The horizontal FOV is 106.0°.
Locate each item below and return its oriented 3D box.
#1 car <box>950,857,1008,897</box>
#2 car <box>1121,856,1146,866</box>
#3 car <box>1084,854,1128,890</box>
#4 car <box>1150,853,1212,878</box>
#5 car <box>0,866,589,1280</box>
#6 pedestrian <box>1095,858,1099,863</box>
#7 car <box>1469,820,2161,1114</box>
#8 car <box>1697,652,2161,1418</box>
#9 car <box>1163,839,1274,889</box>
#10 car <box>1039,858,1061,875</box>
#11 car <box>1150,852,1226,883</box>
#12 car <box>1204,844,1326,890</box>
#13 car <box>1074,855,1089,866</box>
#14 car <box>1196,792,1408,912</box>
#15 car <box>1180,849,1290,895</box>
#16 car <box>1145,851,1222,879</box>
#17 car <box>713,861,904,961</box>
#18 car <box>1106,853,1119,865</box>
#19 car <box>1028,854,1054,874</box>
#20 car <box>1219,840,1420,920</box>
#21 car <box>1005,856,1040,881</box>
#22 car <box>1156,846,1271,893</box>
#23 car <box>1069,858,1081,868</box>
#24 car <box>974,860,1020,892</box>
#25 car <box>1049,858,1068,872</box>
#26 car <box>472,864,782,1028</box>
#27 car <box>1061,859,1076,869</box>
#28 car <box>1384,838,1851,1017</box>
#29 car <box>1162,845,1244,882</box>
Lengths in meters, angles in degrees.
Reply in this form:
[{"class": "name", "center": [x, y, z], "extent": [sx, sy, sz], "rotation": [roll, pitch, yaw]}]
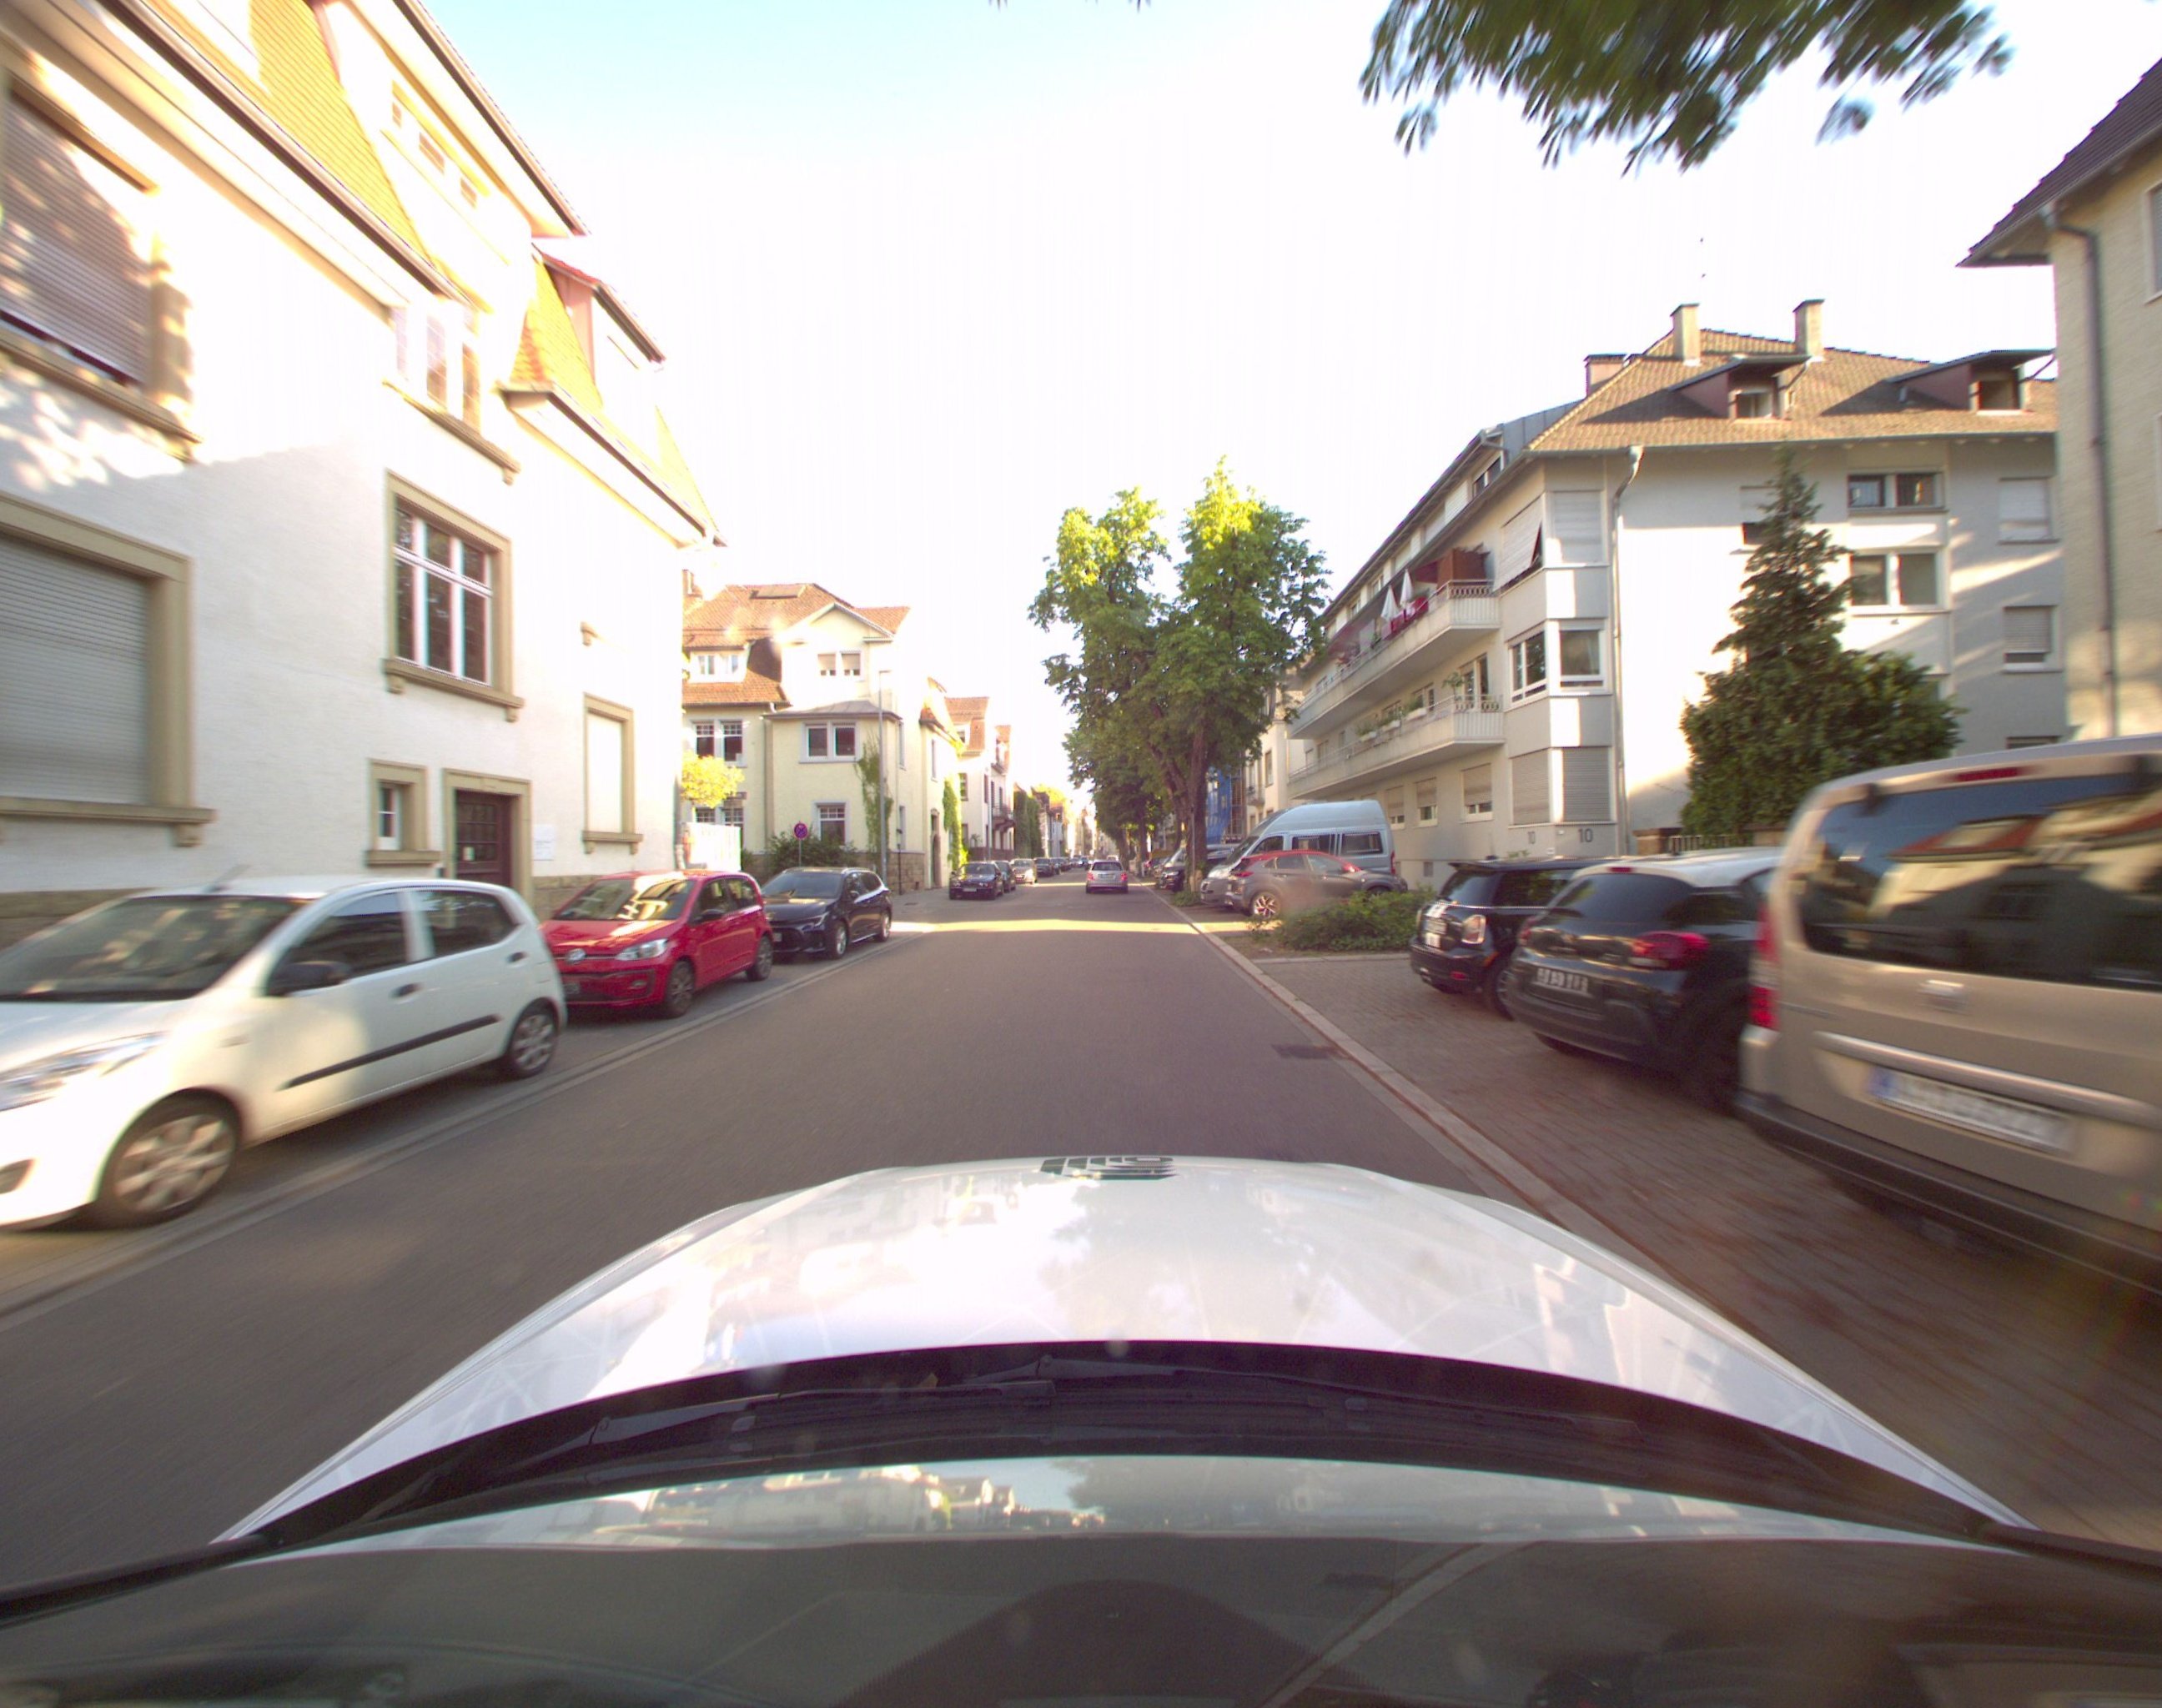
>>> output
[{"class": "car", "center": [-3.998, 0.865, 32.569], "extent": [1.704, 1.470, 4.633], "rotation": [0, 0, 0]}, {"class": "car", "center": [9.057, 1.170, 139.858], "extent": [4.171, 1.475, 1.853], "rotation": [-3, -1, 4]}, {"class": "car", "center": [1.095, 0.757, 34.988], "extent": [1.777, 1.437, 3.852], "rotation": [0, -1, 2]}, {"class": "car", "center": [6.652, 0.754, 54.746], "extent": [3.970, 1.492, 1.852], "rotation": [-3, -1, 3]}, {"class": "car", "center": [-4.850, 0.852, 4.830], "extent": [1.576, 1.520, 3.706], "rotation": [0, 0, 0]}, {"class": "pedestrian", "center": [4.933, 1.975, 247.430], "extent": [1.215, 1.722, 1.505], "rotation": [0, -1, 5]}, {"class": "car", "center": [5.170, 0.609, 5.467], "extent": [4.289, 1.541, 1.758], "rotation": [-2, 0, -2]}, {"class": "car", "center": [4.782, 0.401, 2.610], "extent": [4.289, 1.885, 1.757], "rotation": [-2, -1, -2]}, {"class": "car", "center": [5.858, 0.434, 35.079], "extent": [4.456, 2.014, 1.895], "rotation": [-1, -1, -1]}, {"class": "car", "center": [-2.714, 1.082, 72.629], "extent": [1.787, 1.461, 4.775], "rotation": [0, 0, -1]}, {"class": "car", "center": [6.143, 0.759, 47.199], "extent": [4.140, 1.539, 1.851], "rotation": [-3, -1, 1]}, {"class": "car", "center": [6.136, 0.459, 27.508], "extent": [3.708, 1.431, 1.758], "rotation": [-1, -2, 0]}, {"class": "car", "center": [0.038, 0.829, 105.022], "extent": [1.765, 1.448, 4.001], "rotation": [-2, 0, 1]}, {"class": "car", "center": [5.807, -0.044, 21.909], "extent": [5.078, 2.902, 2.076], "rotation": [-2, 0, 0]}, {"class": "car", "center": [5.625, 0.649, 30.000], "extent": [3.708, 1.554, 1.639], "rotation": [-1, -1, 0]}, {"class": "car", "center": [6.520, 0.709, 52.188], "extent": [4.700, 1.535, 1.851], "rotation": [-3, -1, 1]}, {"class": "car", "center": [-4.545, 0.866, 14.380], "extent": [1.647, 1.454, 4.633], "rotation": [0, 0, 2]}, {"class": "car", "center": [4.199, 0.648, 107.940], "extent": [1.617, 1.570, 3.682], "rotation": [-1, 0, 3]}, {"class": "car", "center": [-3.040, 0.774, 62.376], "extent": [1.647, 1.486, 3.766], "rotation": [0, 0, 2]}, {"class": "car", "center": [5.489, 0.585, 19.111], "extent": [4.175, 1.568, 1.758], "rotation": [-3, 0, 0]}, {"class": "car", "center": [-3.432, 0.840, 48.234], "extent": [1.647, 1.447, 4.007], "rotation": [0, 0, 2]}, {"class": "car", "center": [5.218, 0.609, 32.295], "extent": [4.170, 1.723, 1.762], "rotation": [-1, -1, -6]}, {"class": "car", "center": [-0.884, 1.379, 122.916], "extent": [1.647, 1.445, 3.962], "rotation": [0, 0, 2]}, {"class": "car", "center": [-3.914, 0.994, 38.469], "extent": [1.647, 1.415, 4.168], "rotation": [0, 0, 1]}, {"class": "car", "center": [-2.300, 1.087, 83.886], "extent": [1.643, 1.421, 4.100], "rotation": [0, 0, 2]}, {"class": "car", "center": [-4.867, 0.871, 9.377], "extent": [1.577, 1.477, 3.703], "rotation": [0, 0, -2]}, {"class": "car", "center": [-1.719, 1.417, 113.813], "extent": [1.646, 1.324, 4.049], "rotation": [0, -1, 4]}, {"class": "car", "center": [5.009, 0.648, 8.004], "extent": [3.390, 1.427, 1.759], "rotation": [-2, 0, 1]}, {"class": "car", "center": [6.132, 0.481, 41.237], "extent": [3.931, 1.683, 1.708], "rotation": [-2, 0, 4]}]
